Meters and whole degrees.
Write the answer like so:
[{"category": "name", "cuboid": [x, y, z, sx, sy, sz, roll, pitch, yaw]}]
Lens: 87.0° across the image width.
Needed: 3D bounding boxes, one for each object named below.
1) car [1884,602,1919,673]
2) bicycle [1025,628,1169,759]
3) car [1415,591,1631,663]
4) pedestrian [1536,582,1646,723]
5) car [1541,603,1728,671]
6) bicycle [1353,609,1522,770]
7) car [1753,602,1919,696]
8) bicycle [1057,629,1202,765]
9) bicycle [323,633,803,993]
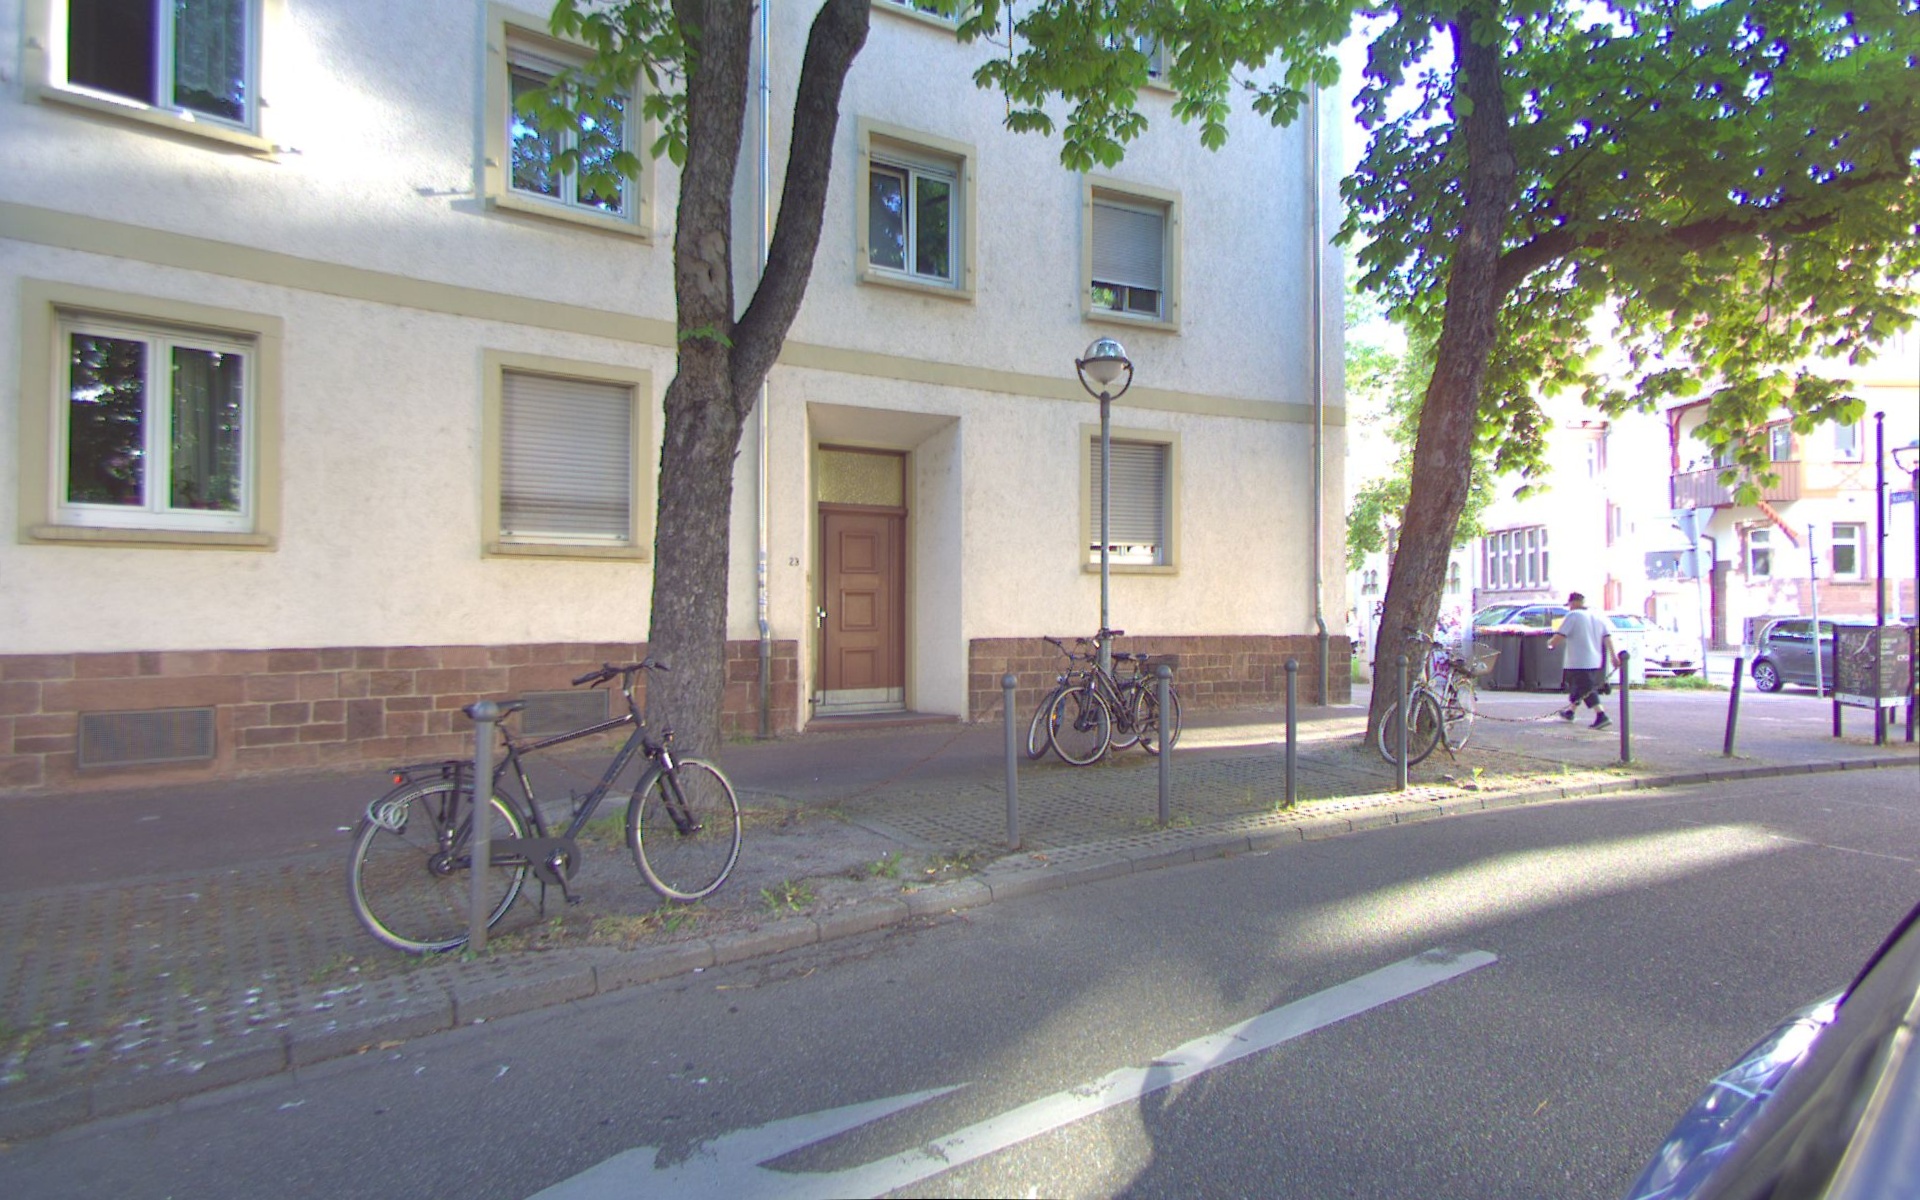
[{"category": "car", "cuboid": [21.627, 0.823, 21.216, 1.463, 1.559, 3.217, 1, 0, -3]}, {"category": "bicycle", "cuboid": [1.297, 0.822, 9.364, 1.607, 1.108, 0.334, 0, -1, -41]}, {"category": "car", "cuboid": [12.005, 0.561, 21.713, 3.728, 1.443, 1.677, 0, -1, -5]}, {"category": "pedestrian", "cuboid": [7.571, 0.598, 12.164, 0.630, 1.612, 0.945, 0, 0, -33]}, {"category": "car", "cuboid": [16.925, 0.899, 25.684, 1.771, 1.572, 4.187, 0, -1, -3]}, {"category": "bicycle", "cuboid": [4.416, 0.746, 9.293, 1.871, 1.321, 0.766, 0, -1, -43]}, {"category": "car", "cuboid": [16.851, 0.837, 18.319, 1.663, 1.572, 4.053, 0, -1, -3]}, {"category": "bicycle", "cuboid": [1.551, 0.824, 9.101, 1.607, 1.108, 0.334, 0, -1, -41]}, {"category": "bicycle", "cuboid": [-1.695, 0.795, 4.554, 1.882, 1.238, 0.718, 0, -1, -43]}]
